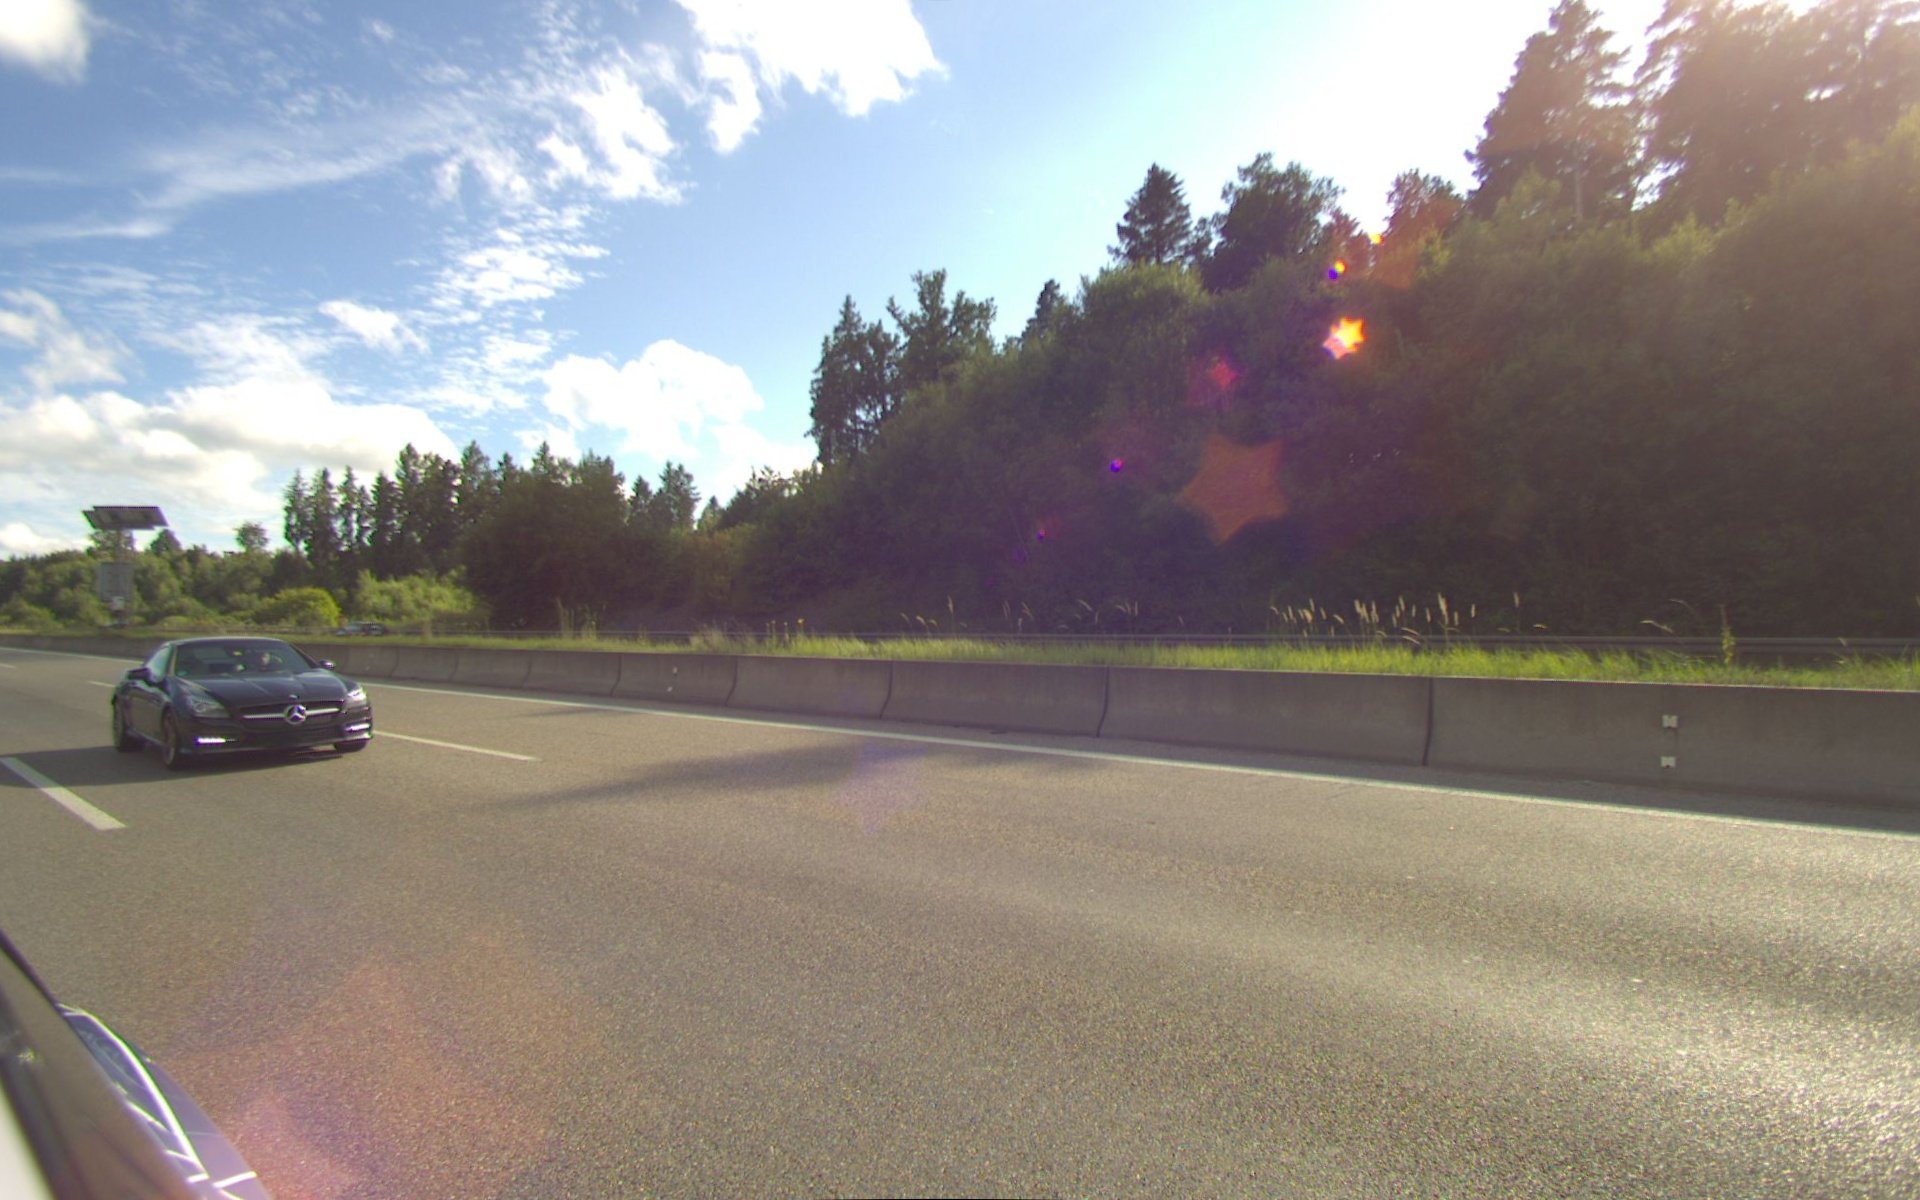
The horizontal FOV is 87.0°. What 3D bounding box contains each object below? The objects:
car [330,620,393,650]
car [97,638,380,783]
[{"bbox_3d":[-35.693,2.076,60.292,4.567,1.640,1.860,-2,-1,40],"label":"car"},{"bbox_3d":[-8.321,1.107,11.522,4.197,1.293,1.726,-2,-1,41],"label":"car"}]
